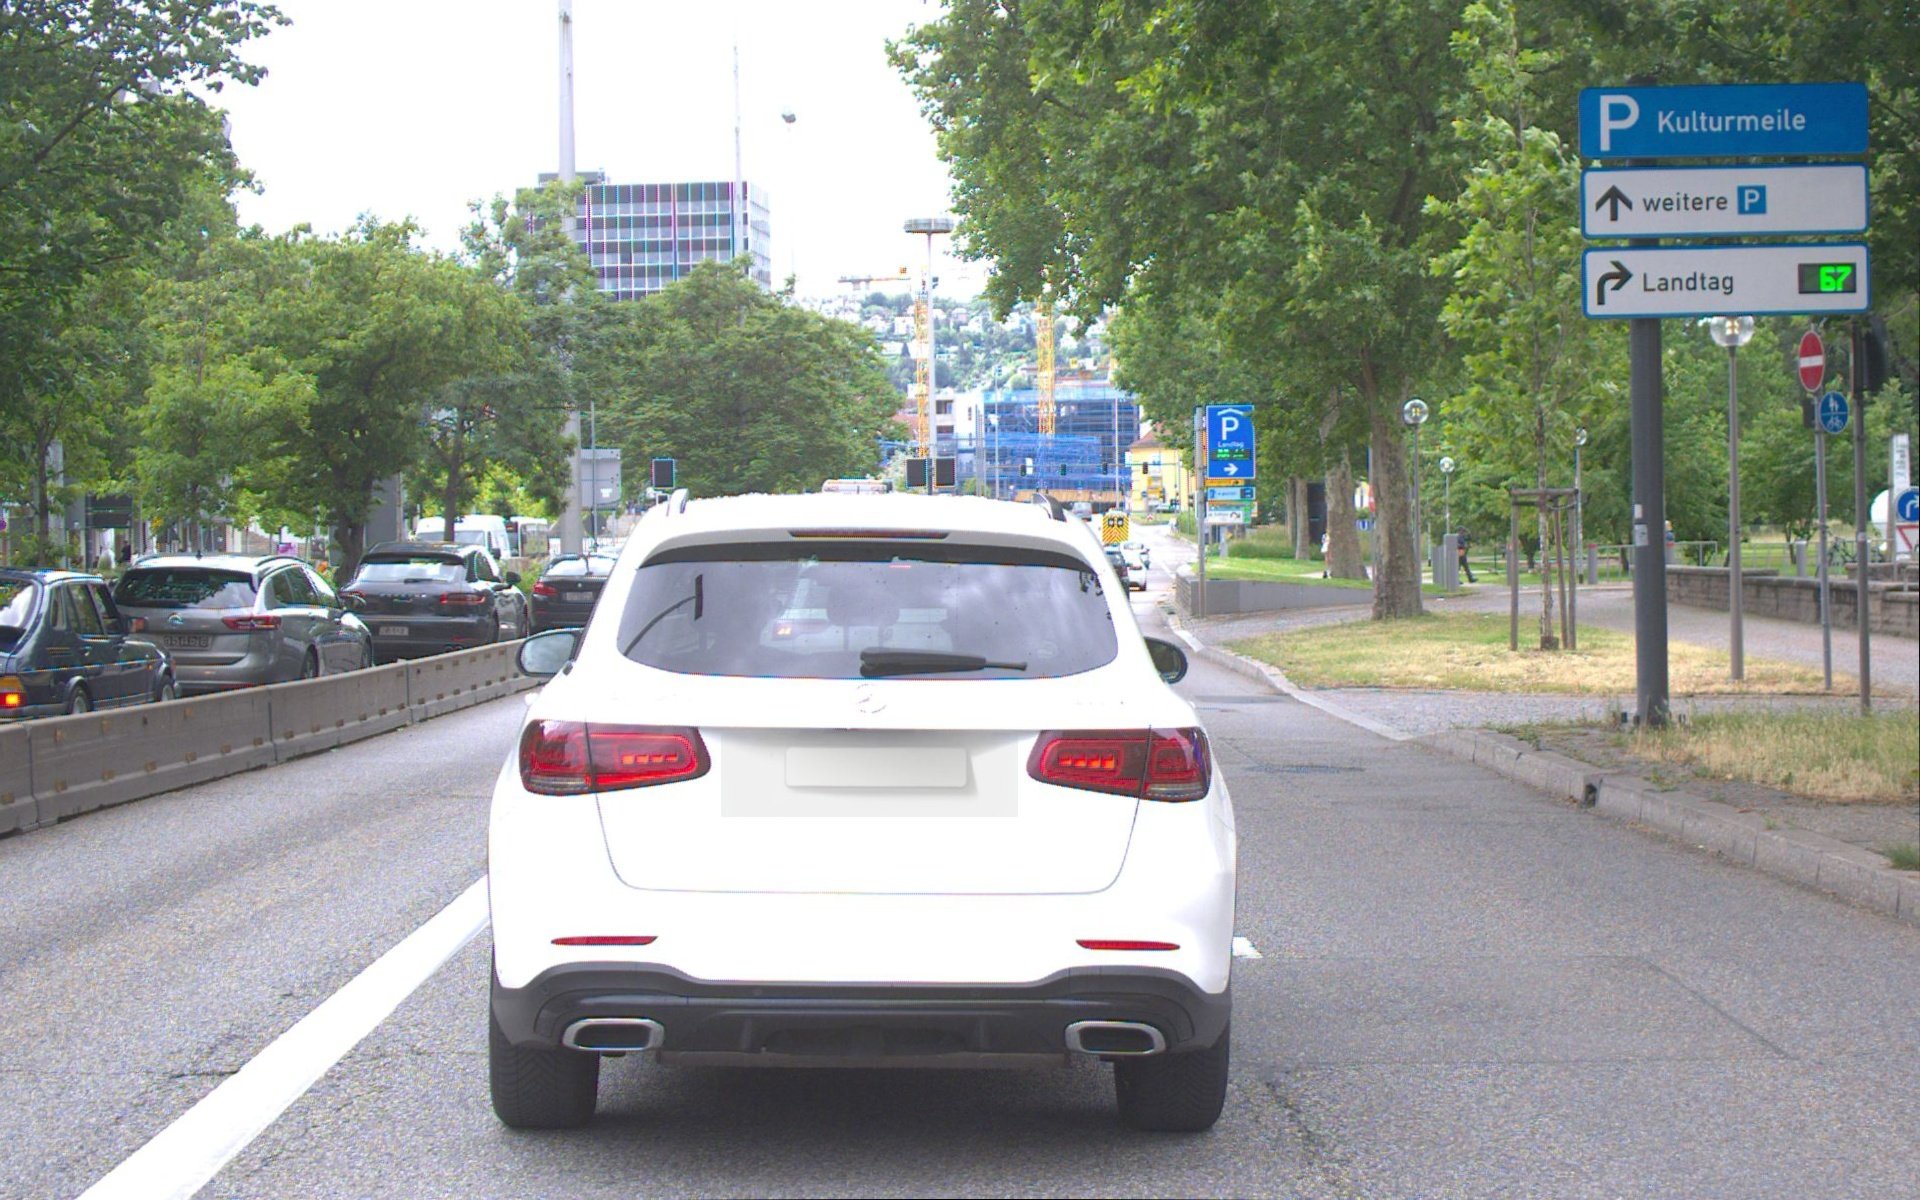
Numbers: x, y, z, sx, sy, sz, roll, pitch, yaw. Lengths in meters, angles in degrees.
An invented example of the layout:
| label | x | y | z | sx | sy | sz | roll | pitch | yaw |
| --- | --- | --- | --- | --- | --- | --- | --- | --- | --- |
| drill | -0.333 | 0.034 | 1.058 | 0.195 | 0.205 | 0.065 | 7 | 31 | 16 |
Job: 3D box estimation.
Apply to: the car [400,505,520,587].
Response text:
| label | x | y | z | sx | sy | sz | roll | pitch | yaw |
| --- | --- | --- | --- | --- | --- | --- | --- | --- | --- |
| car | -12.456 | -1.350 | 85.938 | 2.115 | 1.962 | 5.578 | 0 | 1 | 1 |

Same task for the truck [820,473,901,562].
| label | x | y | z | sx | sy | sz | roll | pitch | yaw |
| --- | --- | --- | --- | --- | --- | --- | --- | --- | --- |
| truck | -3.512 | -2.915 | 122.414 | 2.692 | 2.981 | 5.638 | 2 | 0 | 0 |

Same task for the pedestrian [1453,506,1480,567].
| label | x | y | z | sx | sy | sz | roll | pitch | yaw |
| --- | --- | --- | --- | --- | --- | --- | --- | --- | --- |
| pedestrian | 14.356 | -1.786 | 97.427 | 0.759 | 1.719 | 0.698 | 0 | 1 | 9 |

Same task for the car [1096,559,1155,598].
| label | x | y | z | sx | sy | sz | roll | pitch | yaw |
| --- | --- | --- | --- | --- | --- | --- | --- | --- | --- |
| car | 5.643 | -0.746 | 117.513 | 1.947 | 1.315 | 4.016 | 1 | 1 | 2 |

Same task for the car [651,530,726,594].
| label | x | y | z | sx | sy | sz | roll | pitch | yaw |
| --- | --- | --- | --- | --- | --- | --- | --- | --- | --- |
| car | -6.523 | -0.904 | 82.938 | 1.659 | 1.508 | 3.548 | 0 | 0 | -2 |

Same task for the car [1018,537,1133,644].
| label | x | y | z | sx | sy | sz | roll | pitch | yaw |
| --- | --- | --- | --- | --- | --- | --- | --- | --- | --- |
| car | 1.935 | -0.186 | 58.678 | 1.825 | 1.746 | 4.000 | 0 | 1 | 0 |

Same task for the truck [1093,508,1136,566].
| label | x | y | z | sx | sy | sz | roll | pitch | yaw |
| --- | --- | --- | --- | --- | --- | --- | --- | --- | --- |
| truck | 11.209 | -4.588 | 250.466 | 2.877 | 4.089 | 6.638 | 1 | 1 | 1 |

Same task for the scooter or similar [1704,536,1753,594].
| label | x | y | z | sx | sy | sz | roll | pitch | yaw |
| --- | --- | --- | --- | --- | --- | --- | --- | --- | --- |
| scooter or similar | 16.815 | -0.757 | 75.241 | 0.636 | 1.241 | 2.225 | 2 | 0 | 3 |

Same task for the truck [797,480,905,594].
| label | x | y | z | sx | sy | sz | roll | pitch | yaw |
| --- | --- | --- | --- | --- | --- | --- | --- | --- | --- |
| truck | -2.827 | -1.650 | 90.924 | 2.621 | 2.851 | 7.079 | 1 | 1 | 0 |

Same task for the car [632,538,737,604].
| label | x | y | z | sx | sy | sz | roll | pitch | yaw |
| --- | --- | --- | --- | --- | --- | --- | --- | --- | --- |
| car | -5.678 | -0.610 | 71.221 | 1.659 | 1.315 | 3.547 | 1 | 1 | 4 |

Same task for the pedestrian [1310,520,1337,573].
| label | x | y | z | sx | sy | sz | roll | pitch | yaw |
| --- | --- | --- | --- | --- | --- | --- | --- | --- | --- |
| pedestrian | 13.892 | -2.030 | 131.249 | 0.761 | 2.007 | 0.697 | 0 | 1 | 37 |

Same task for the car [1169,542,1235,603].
| label | x | y | z | sx | sy | sz | roll | pitch | yaw |
| --- | --- | --- | --- | --- | --- | --- | --- | --- | --- |
| car | 8.028 | -0.920 | 114.410 | 1.993 | 2.007 | 4.000 | 1 | 1 | 2 |

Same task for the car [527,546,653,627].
| label | x | y | z | sx | sy | sz | roll | pitch | yaw |
| --- | --- | --- | --- | --- | --- | --- | --- | --- | --- |
| car | -6.191 | -0.238 | 57.808 | 1.659 | 1.315 | 3.547 | 1 | 1 | 1 |

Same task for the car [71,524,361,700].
| label | x | y | z | sx | sy | sz | roll | pitch | yaw |
| --- | --- | --- | --- | --- | --- | --- | --- | --- | --- |
| car | -6.439 | 0.088 | 30.139 | 1.661 | 1.431 | 3.960 | 1 | 0 | 0 |

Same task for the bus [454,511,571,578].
| label | x | y | z | sx | sy | sz | roll | pitch | yaw |
| --- | --- | --- | --- | --- | --- | --- | --- | --- | --- |
| bus | -22.330 | -2.784 | 172.504 | 3.667 | 3.194 | 14.273 | 0 | 1 | 1 |

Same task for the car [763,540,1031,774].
| label | x | y | z | sx | sy | sz | roll | pitch | yaw |
| --- | --- | --- | --- | --- | --- | --- | --- | --- | --- |
| car | -0.542 | 0.378 | 25.635 | 1.795 | 1.603 | 3.755 | 0 | 1 | -4 |

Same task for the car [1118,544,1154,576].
| label | x | y | z | sx | sy | sz | roll | pitch | yaw |
| --- | --- | --- | --- | --- | --- | --- | --- | --- | --- |
| car | 9.408 | -2.146 | 184.013 | 1.758 | 1.663 | 4.168 | 0 | 1 | 1 |

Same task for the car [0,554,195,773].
| label | x | y | z | sx | sy | sz | roll | pitch | yaw |
| --- | --- | --- | --- | --- | --- | --- | --- | --- | --- |
| car | -6.668 | 0.370 | 23.872 | 1.678 | 1.362 | 4.543 | 0 | 1 | 0 |

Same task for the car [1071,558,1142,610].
| label | x | y | z | sx | sy | sz | roll | pitch | yaw |
| --- | --- | --- | --- | --- | --- | --- | --- | --- | --- |
| car | 4.123 | -0.451 | 97.089 | 1.947 | 1.423 | 4.016 | 1 | 1 | 2 |

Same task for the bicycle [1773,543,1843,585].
| label | x | y | z | sx | sy | sz | roll | pitch | yaw |
| --- | --- | --- | --- | --- | --- | --- | --- | --- | --- |
| bicycle | 20.055 | -0.845 | 81.387 | 0.954 | 0.972 | 2.787 | 2 | 0 | 0 |

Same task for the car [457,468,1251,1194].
| label | x | y | z | sx | sy | sz | roll | pitch | yaw |
| --- | --- | --- | --- | --- | --- | --- | --- | --- | --- |
| car | -0.413 | 0.477 | 10.017 | 1.788 | 1.619 | 4.438 | -1 | 1 | -5 |

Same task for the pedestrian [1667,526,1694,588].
| label | x | y | z | sx | sy | sz | roll | pitch | yaw |
| --- | --- | --- | --- | --- | --- | --- | --- | --- | --- |
| pedestrian | 18.823 | -1.131 | 89.804 | 0.639 | 1.605 | 0.663 | 0 | 1 | 8 |

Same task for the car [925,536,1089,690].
| label | x | y | z | sx | sy | sz | roll | pitch | yaw |
| --- | --- | --- | --- | --- | --- | --- | --- | --- | --- |
| car | 0.485 | 0.123 | 38.542 | 1.659 | 1.633 | 3.548 | 1 | 1 | -2 |

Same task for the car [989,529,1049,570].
| label | x | y | z | sx | sy | sz | roll | pitch | yaw |
| --- | --- | --- | --- | --- | --- | --- | --- | --- | --- |
| car | 1.988 | -1.678 | 114.621 | 1.947 | 1.315 | 4.016 | 1 | 1 | 2 |

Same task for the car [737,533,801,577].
| label | x | y | z | sx | sy | sz | roll | pitch | yaw |
| --- | --- | --- | --- | --- | --- | --- | --- | --- | --- |
| car | -5.876 | -1.392 | 106.108 | 1.659 | 1.315 | 3.547 | 1 | 1 | 2 |

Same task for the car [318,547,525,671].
| label | x | y | z | sx | sy | sz | roll | pitch | yaw |
| --- | --- | --- | --- | --- | --- | --- | --- | --- | --- |
| car | -6.494 | 0.076 | 41.832 | 1.776 | 1.415 | 4.000 | 0 | 1 | 2 |
